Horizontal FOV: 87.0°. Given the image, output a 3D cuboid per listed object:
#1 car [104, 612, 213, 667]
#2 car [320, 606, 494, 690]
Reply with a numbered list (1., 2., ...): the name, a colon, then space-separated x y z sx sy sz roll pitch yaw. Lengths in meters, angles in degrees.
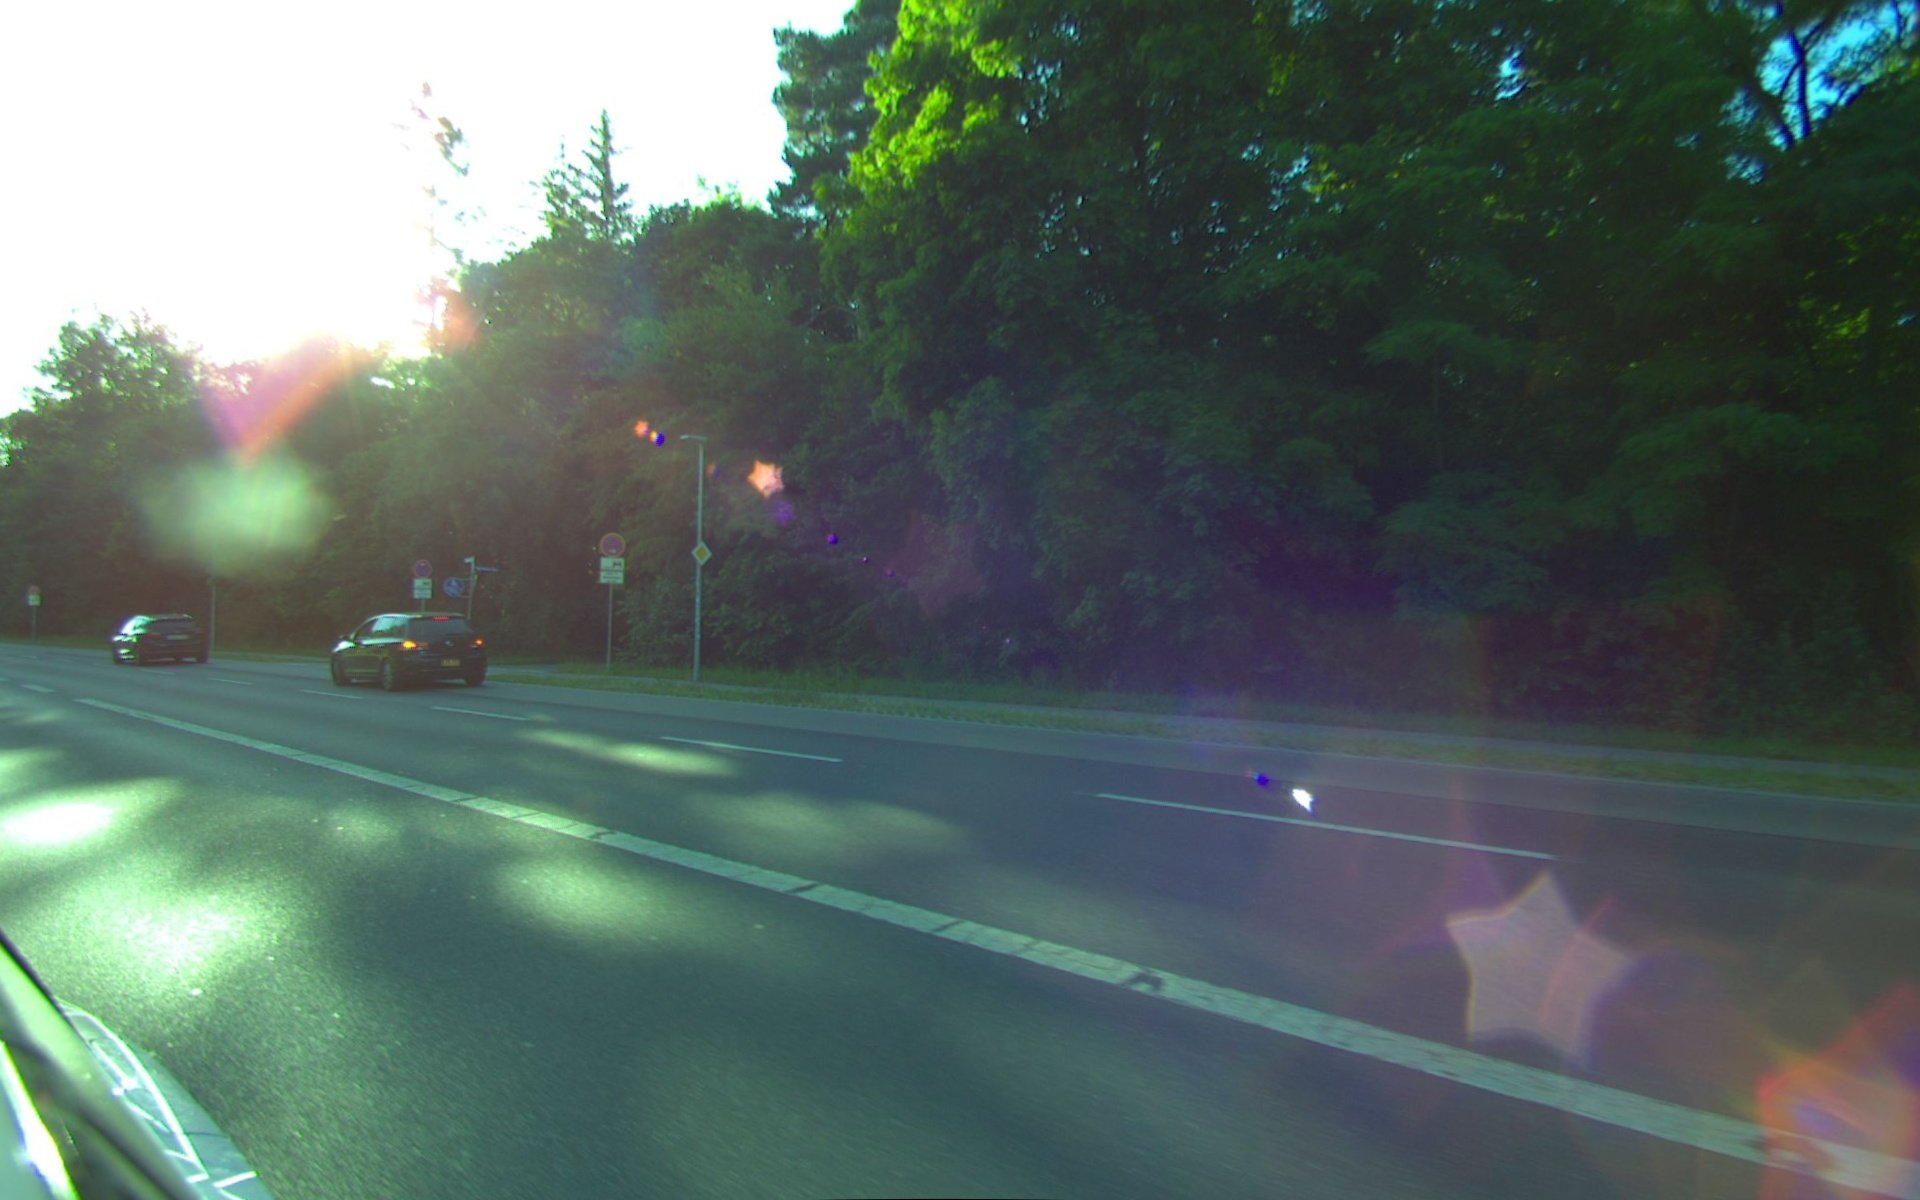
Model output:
1. car: -24.176 1.144 30.491 3.995 1.468 1.722 -1 1 39
2. car: -11.034 0.888 20.086 4.169 1.492 1.640 -1 -1 40
